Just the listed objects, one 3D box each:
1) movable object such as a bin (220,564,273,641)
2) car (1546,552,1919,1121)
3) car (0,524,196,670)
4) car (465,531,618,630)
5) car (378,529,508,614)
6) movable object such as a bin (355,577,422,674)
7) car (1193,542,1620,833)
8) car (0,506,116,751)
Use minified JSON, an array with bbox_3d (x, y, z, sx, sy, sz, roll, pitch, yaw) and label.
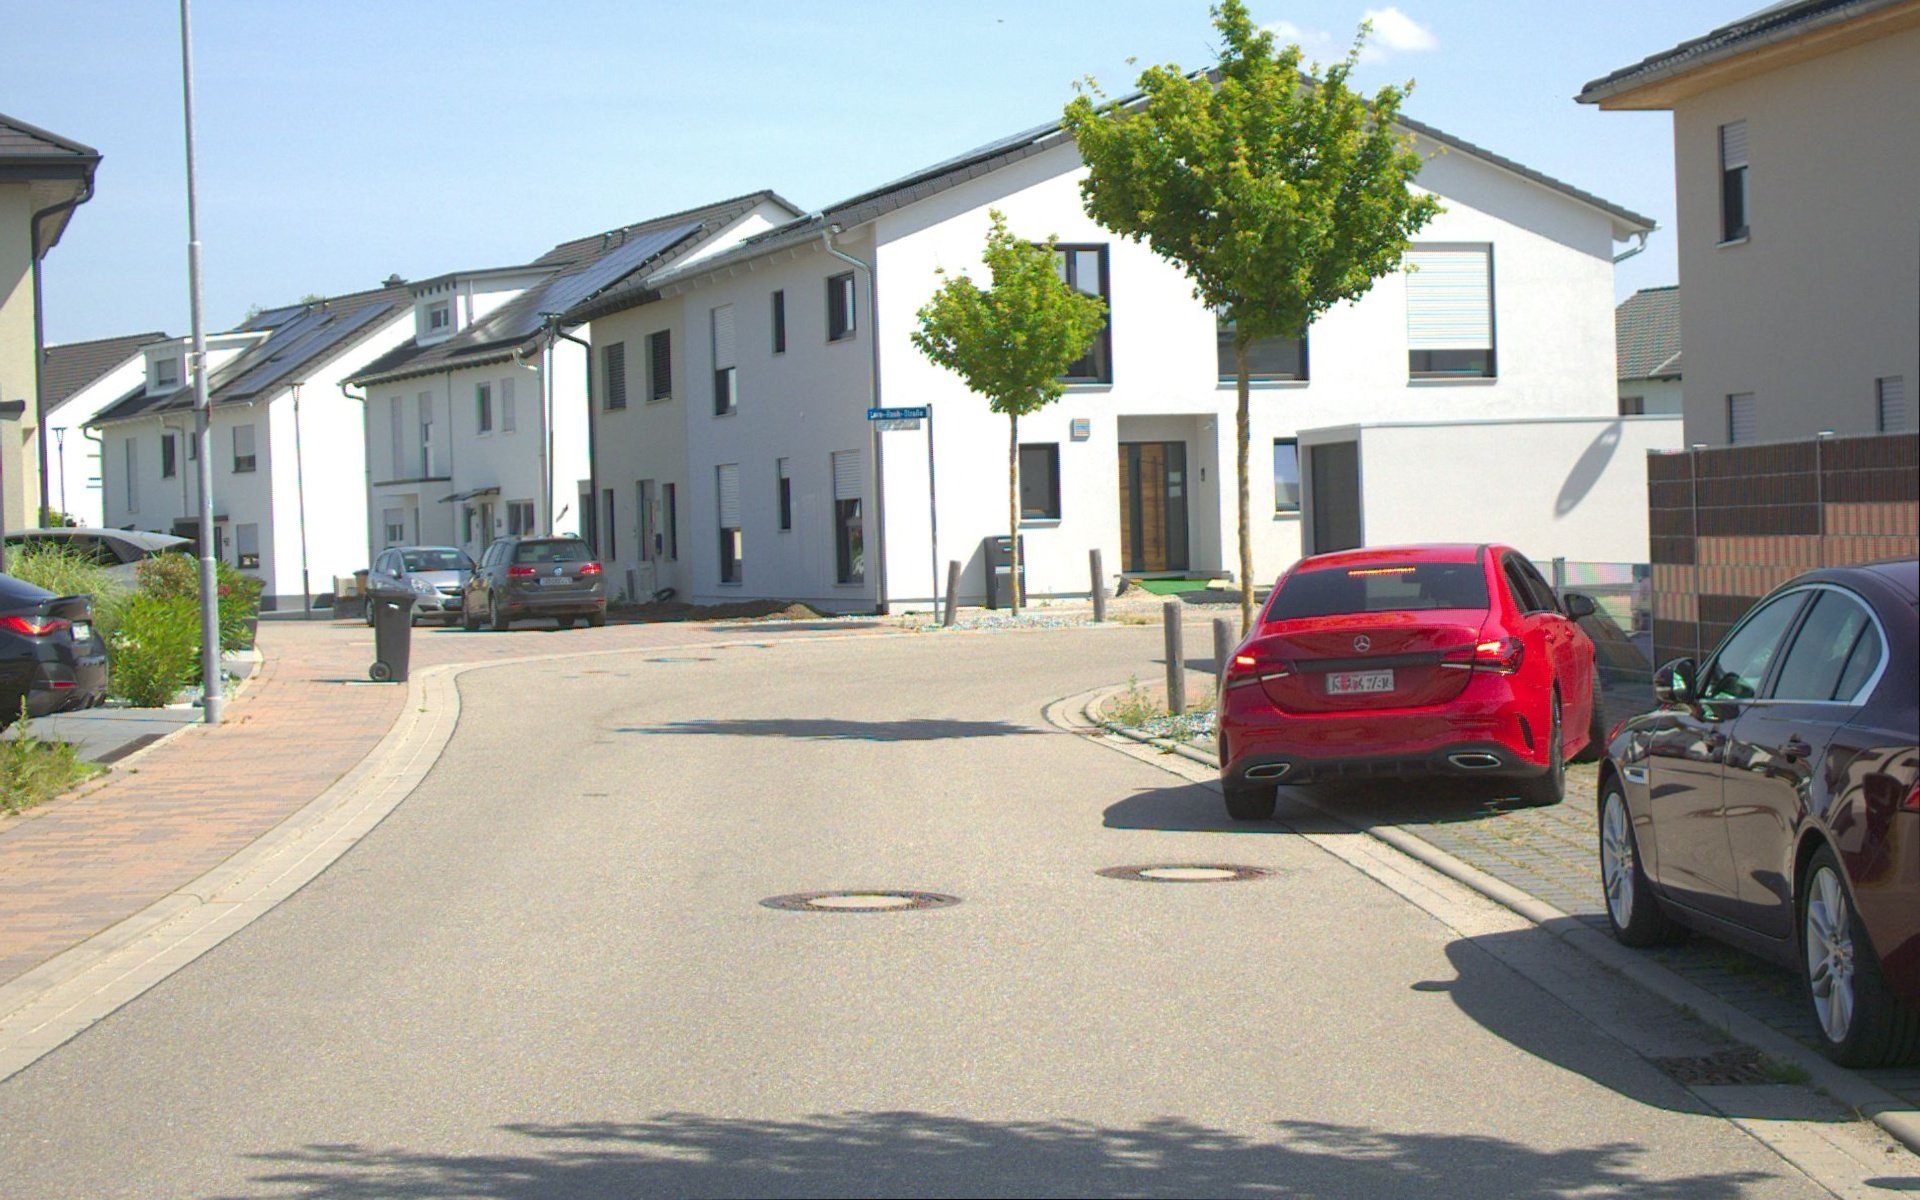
[{"bbox_3d":[-8.806,0.031,42.428,0.614,0.924,0.423,1,0,-12],"label":"movable object such as a bin"},{"bbox_3d":[3.206,0.561,10.987,1.754,1.358,4.576,-2,1,-1],"label":"car"},{"bbox_3d":[-10.279,-0.033,36.437,3.986,1.481,1.754,-1,1,-2],"label":"car"},{"bbox_3d":[-6.586,-0.319,53.776,1.726,1.418,4.001,-2,1,-16],"label":"car"},{"bbox_3d":[-9.564,-0.529,63.381,1.676,1.459,3.946,-2,1,-18],"label":"car"},{"bbox_3d":[-5.646,0.247,33.970,0.535,0.932,0.526,0,1,5],"label":"movable object such as a bin"},{"bbox_3d":[2.673,0.405,19.673,1.764,1.433,4.516,0,1,16],"label":"car"},{"bbox_3d":[-8.184,0.141,23.614,4.375,1.626,1.771,1,1,-4],"label":"car"}]
